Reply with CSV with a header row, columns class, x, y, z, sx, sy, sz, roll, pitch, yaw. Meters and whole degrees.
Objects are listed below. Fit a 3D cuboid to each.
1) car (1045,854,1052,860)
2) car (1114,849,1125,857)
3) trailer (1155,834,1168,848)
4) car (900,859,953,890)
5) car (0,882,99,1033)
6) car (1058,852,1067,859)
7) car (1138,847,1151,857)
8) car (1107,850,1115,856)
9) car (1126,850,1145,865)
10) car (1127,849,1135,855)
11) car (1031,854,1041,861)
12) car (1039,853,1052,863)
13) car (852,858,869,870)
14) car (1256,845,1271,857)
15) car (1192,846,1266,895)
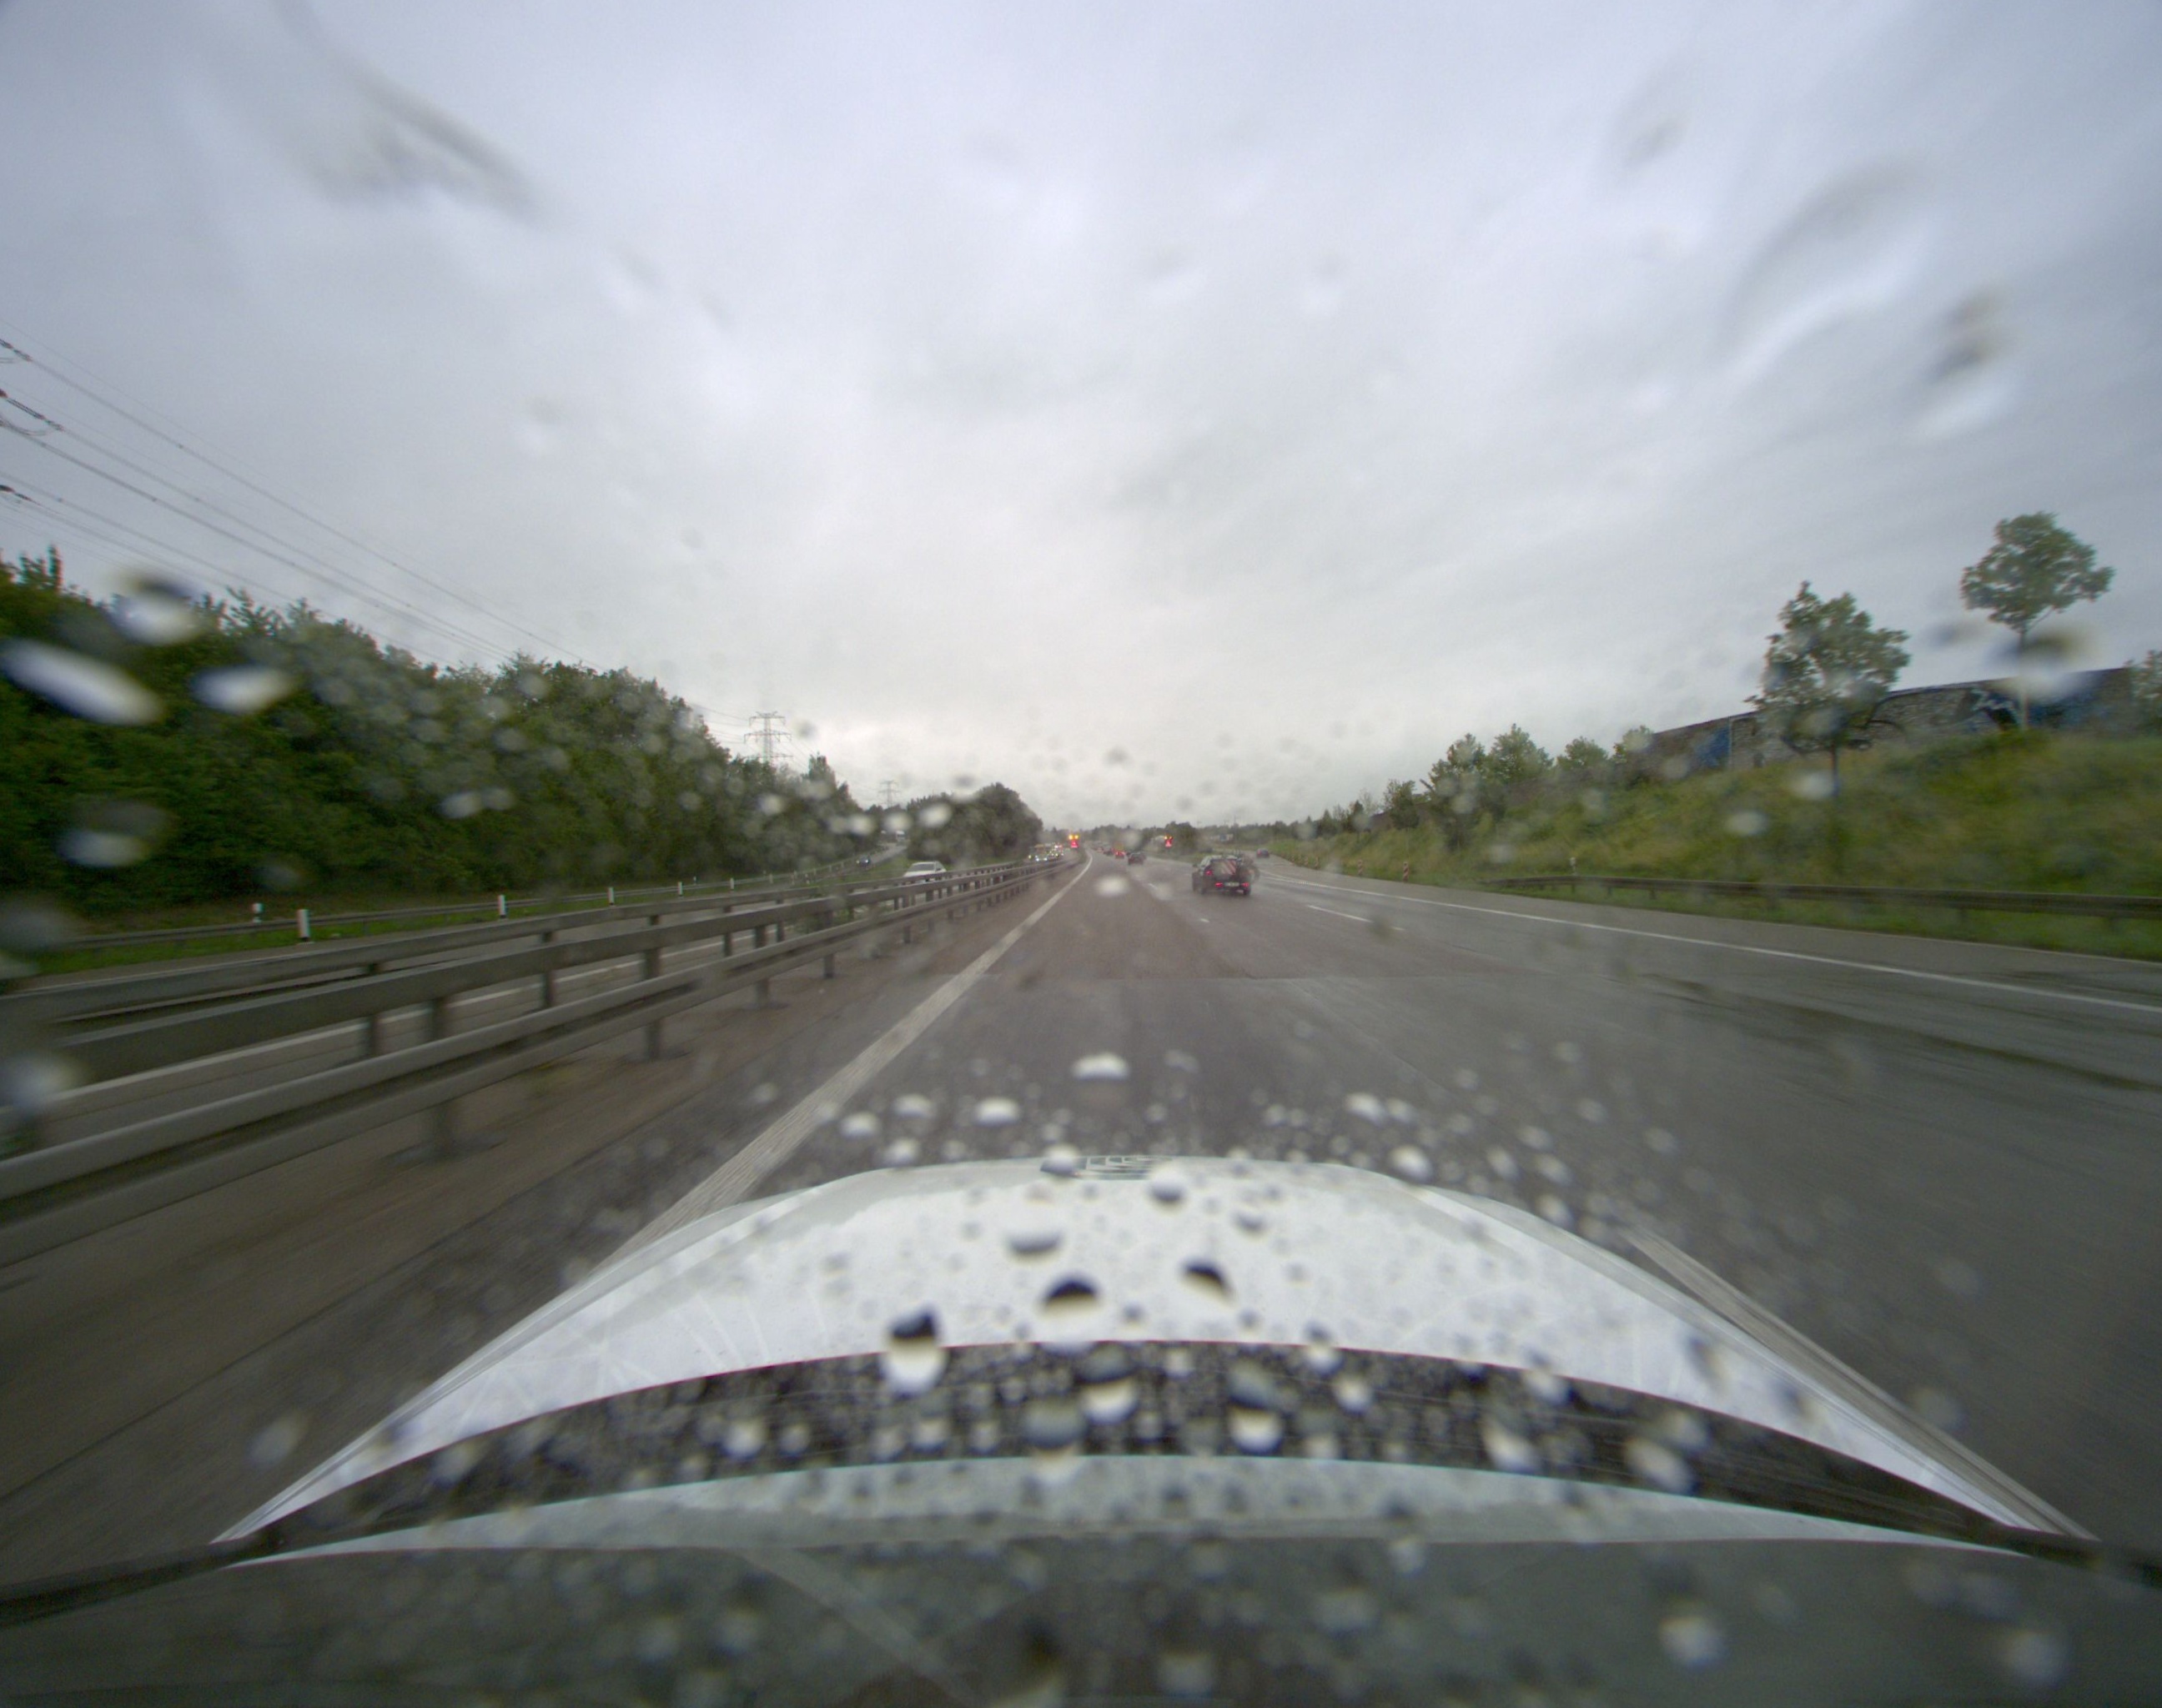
class,x,y,z,sx,sy,sz,roll,pitch,yaw
car,-9.497,0.754,238.915,1.868,1.603,4.515,-3,0,1
car,7.867,-0.219,167.018,1.987,1.628,4.000,-2,0,0
trailer,26.022,-4.213,263.866,2.975,4.156,12.956,-2,0,0
car,-8.312,1.089,44.318,1.750,1.461,4.764,-3,0,2
car,-13.100,1.211,7.650,1.897,1.665,4.716,-2,0,2
car,-4.753,0.379,206.071,1.917,1.656,4.792,-3,0,1
car,11.879,-0.304,152.759,1.987,1.761,4.000,2,0,0
car,8.167,-0.236,219.608,1.987,1.628,4.000,-2,0,0
car,6.590,0.381,98.701,1.987,1.761,4.000,-2,0,0
car,13.658,-0.550,223.481,1.987,1.628,4.000,-2,0,0
car,-10.168,0.721,184.799,1.868,1.493,4.515,-3,0,1
car,-5.841,0.592,134.319,1.815,1.512,4.792,-3,0,1
car,-32.796,1.471,121.405,1.967,1.543,3.988,-2,0,-9
car,28.655,-0.459,127.735,1.912,1.709,4.008,-2,0,7
car,5.471,0.606,30.850,2.049,1.671,5.525,0,-1,3
